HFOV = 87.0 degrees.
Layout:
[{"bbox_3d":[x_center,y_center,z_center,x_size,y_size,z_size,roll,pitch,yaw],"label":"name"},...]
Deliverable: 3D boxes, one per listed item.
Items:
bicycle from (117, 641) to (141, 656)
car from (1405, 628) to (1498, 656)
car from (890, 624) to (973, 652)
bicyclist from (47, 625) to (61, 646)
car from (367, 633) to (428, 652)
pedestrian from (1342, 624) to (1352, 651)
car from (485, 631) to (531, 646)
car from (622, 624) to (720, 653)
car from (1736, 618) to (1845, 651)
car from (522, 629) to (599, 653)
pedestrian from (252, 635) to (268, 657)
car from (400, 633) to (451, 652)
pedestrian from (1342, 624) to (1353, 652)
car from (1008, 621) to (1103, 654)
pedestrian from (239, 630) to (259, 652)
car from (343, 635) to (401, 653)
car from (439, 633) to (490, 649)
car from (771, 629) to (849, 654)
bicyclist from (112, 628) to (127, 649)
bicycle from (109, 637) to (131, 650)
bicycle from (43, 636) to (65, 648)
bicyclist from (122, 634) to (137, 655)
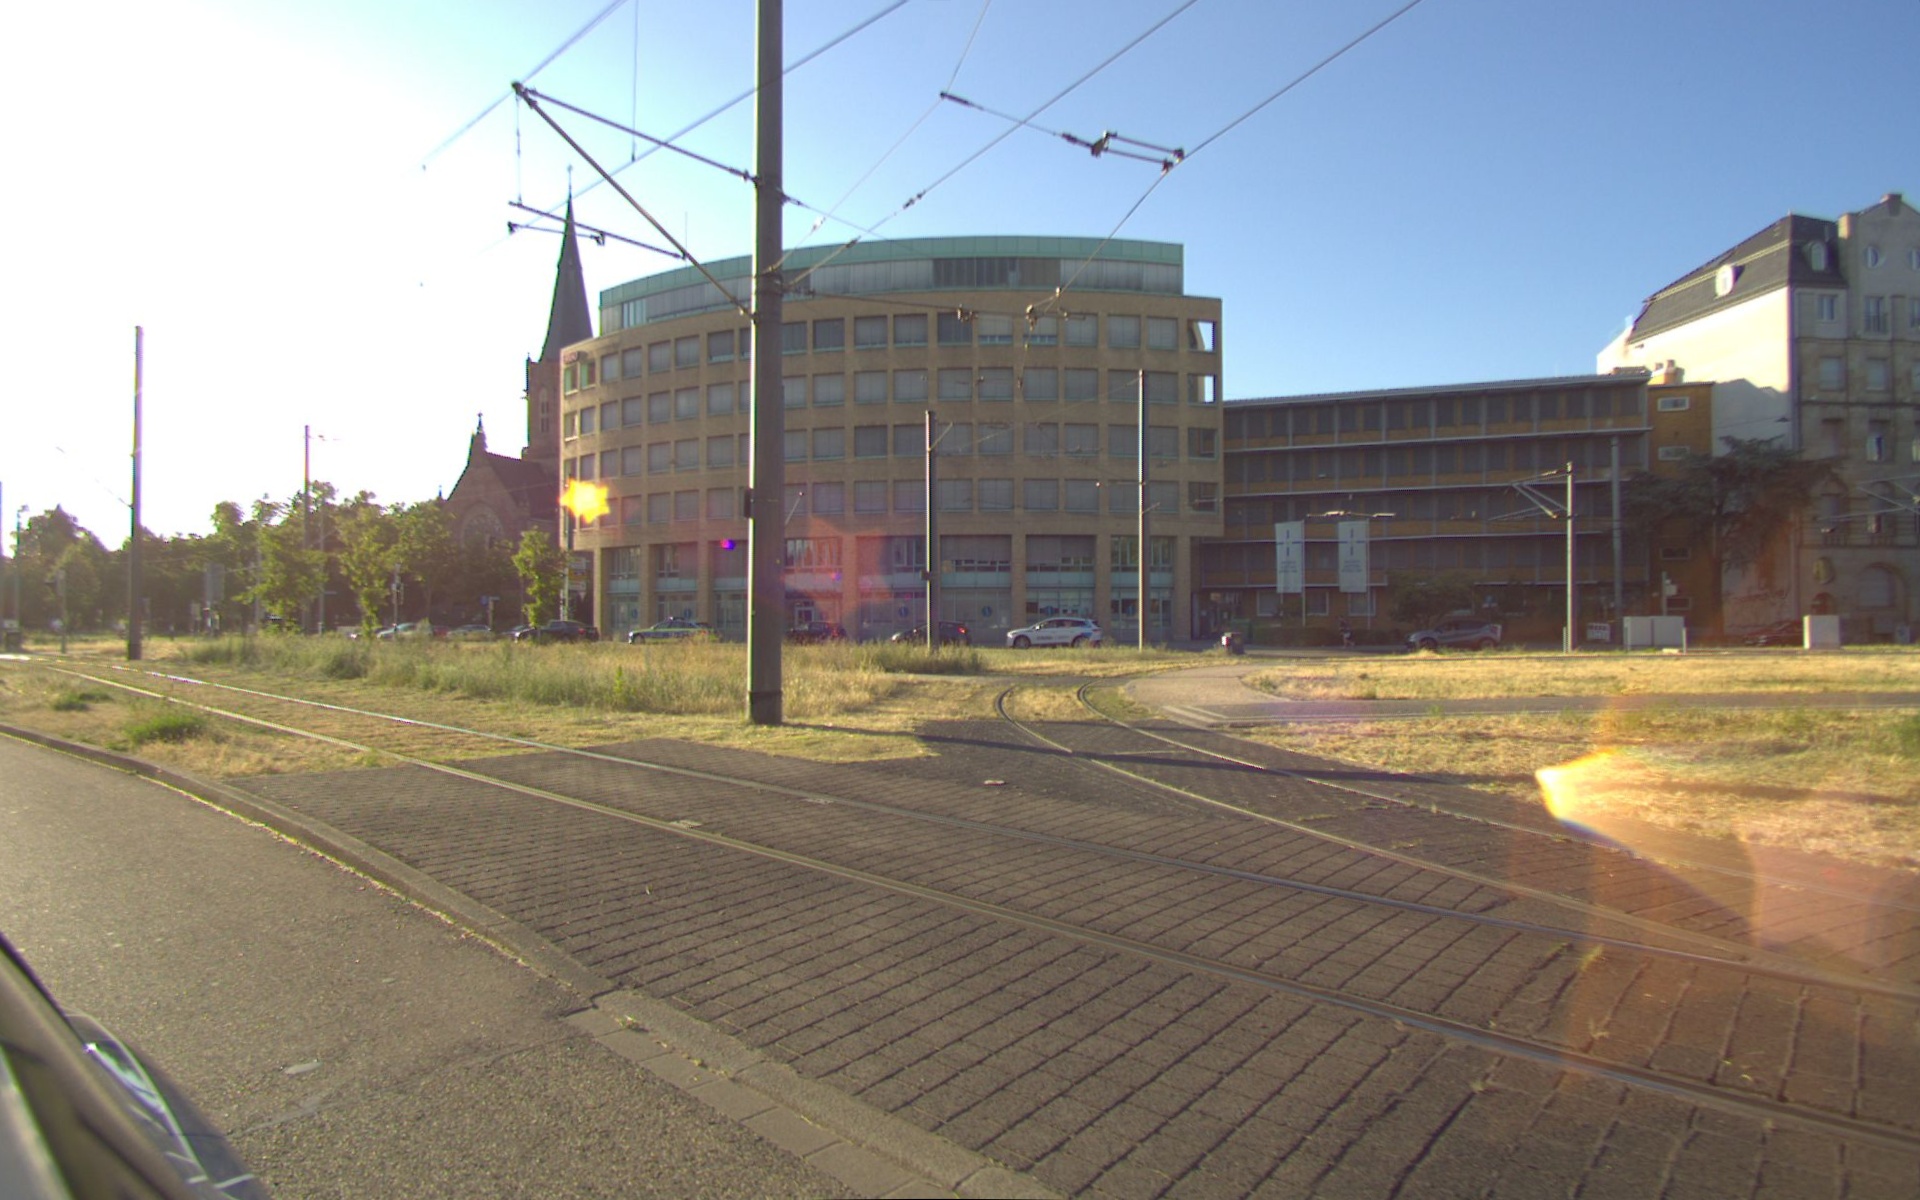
[{"bbox_3d":[-64.340,3.738,78.385,1.903,1.155,0.457,-1,-1,18],"label":"bicycle"},{"bbox_3d":[23.315,1.988,48.124,3.696,1.268,1.562,-1,-1,17],"label":"car"},{"bbox_3d":[-1.355,1.840,49.038,3.706,1.291,1.643,-1,-2,16],"label":"car"},{"bbox_3d":[-78.499,3.084,87.681,0.887,1.841,0.571,-1,-1,18],"label":"bicyclist"},{"bbox_3d":[-44.996,3.379,80.988,1.889,1.431,3.971,-1,-2,22],"label":"car"},{"bbox_3d":[20.785,2.021,54.343,0.481,1.441,0.412,-1,-2,18],"label":"pedestrian"},{"bbox_3d":[-42.806,3.643,95.921,1.887,1.431,3.976,-1,-2,18],"label":"car"},{"bbox_3d":[-15.245,2.032,53.406,4.738,1.492,1.885,-1,-2,16],"label":"car"},{"bbox_3d":[37.727,1.562,46.046,3.480,1.364,1.551,-1,-1,8],"label":"car"},{"bbox_3d":[-22.082,2.262,55.910,3.758,1.292,1.720,-1,-2,19],"label":"car"},{"bbox_3d":[-54.485,3.567,78.798,0.712,1.685,0.733,-1,-2,21],"label":"pedestrian"},{"bbox_3d":[-47.865,3.780,90.677,1.810,1.597,3.976,-1,-2,18],"label":"car"},{"bbox_3d":[20.552,2.021,53.627,0.481,1.441,0.412,-1,-2,18],"label":"pedestrian"},{"bbox_3d":[4.491,1.744,47.406,4.262,1.494,1.770,-1,-2,11],"label":"car"},{"bbox_3d":[-54.888,3.156,78.122,1.097,1.685,0.733,-1,-2,21],"label":"pedestrian"},{"bbox_3d":[-49.761,3.736,85.723,1.887,1.431,3.976,-1,-2,18],"label":"car"},{"bbox_3d":[-44.342,3.643,90.563,1.887,1.431,3.976,-1,-2,18],"label":"car"},{"bbox_3d":[-7.527,2.089,50.837,3.567,1.162,1.516,-1,-2,17],"label":"car"},{"bbox_3d":[-70.045,3.185,84.318,0.887,1.693,0.571,-1,-1,18],"label":"bicyclist"},{"bbox_3d":[-69.996,3.613,84.318,1.915,1.034,0.457,-1,-1,19],"label":"bicycle"},{"bbox_3d":[-78.462,3.622,87.678,1.914,1.034,0.522,-1,1,18],"label":"bicycle"},{"bbox_3d":[-64.332,3.470,78.387,0.814,1.595,0.518,-1,-1,18],"label":"bicyclist"}]
